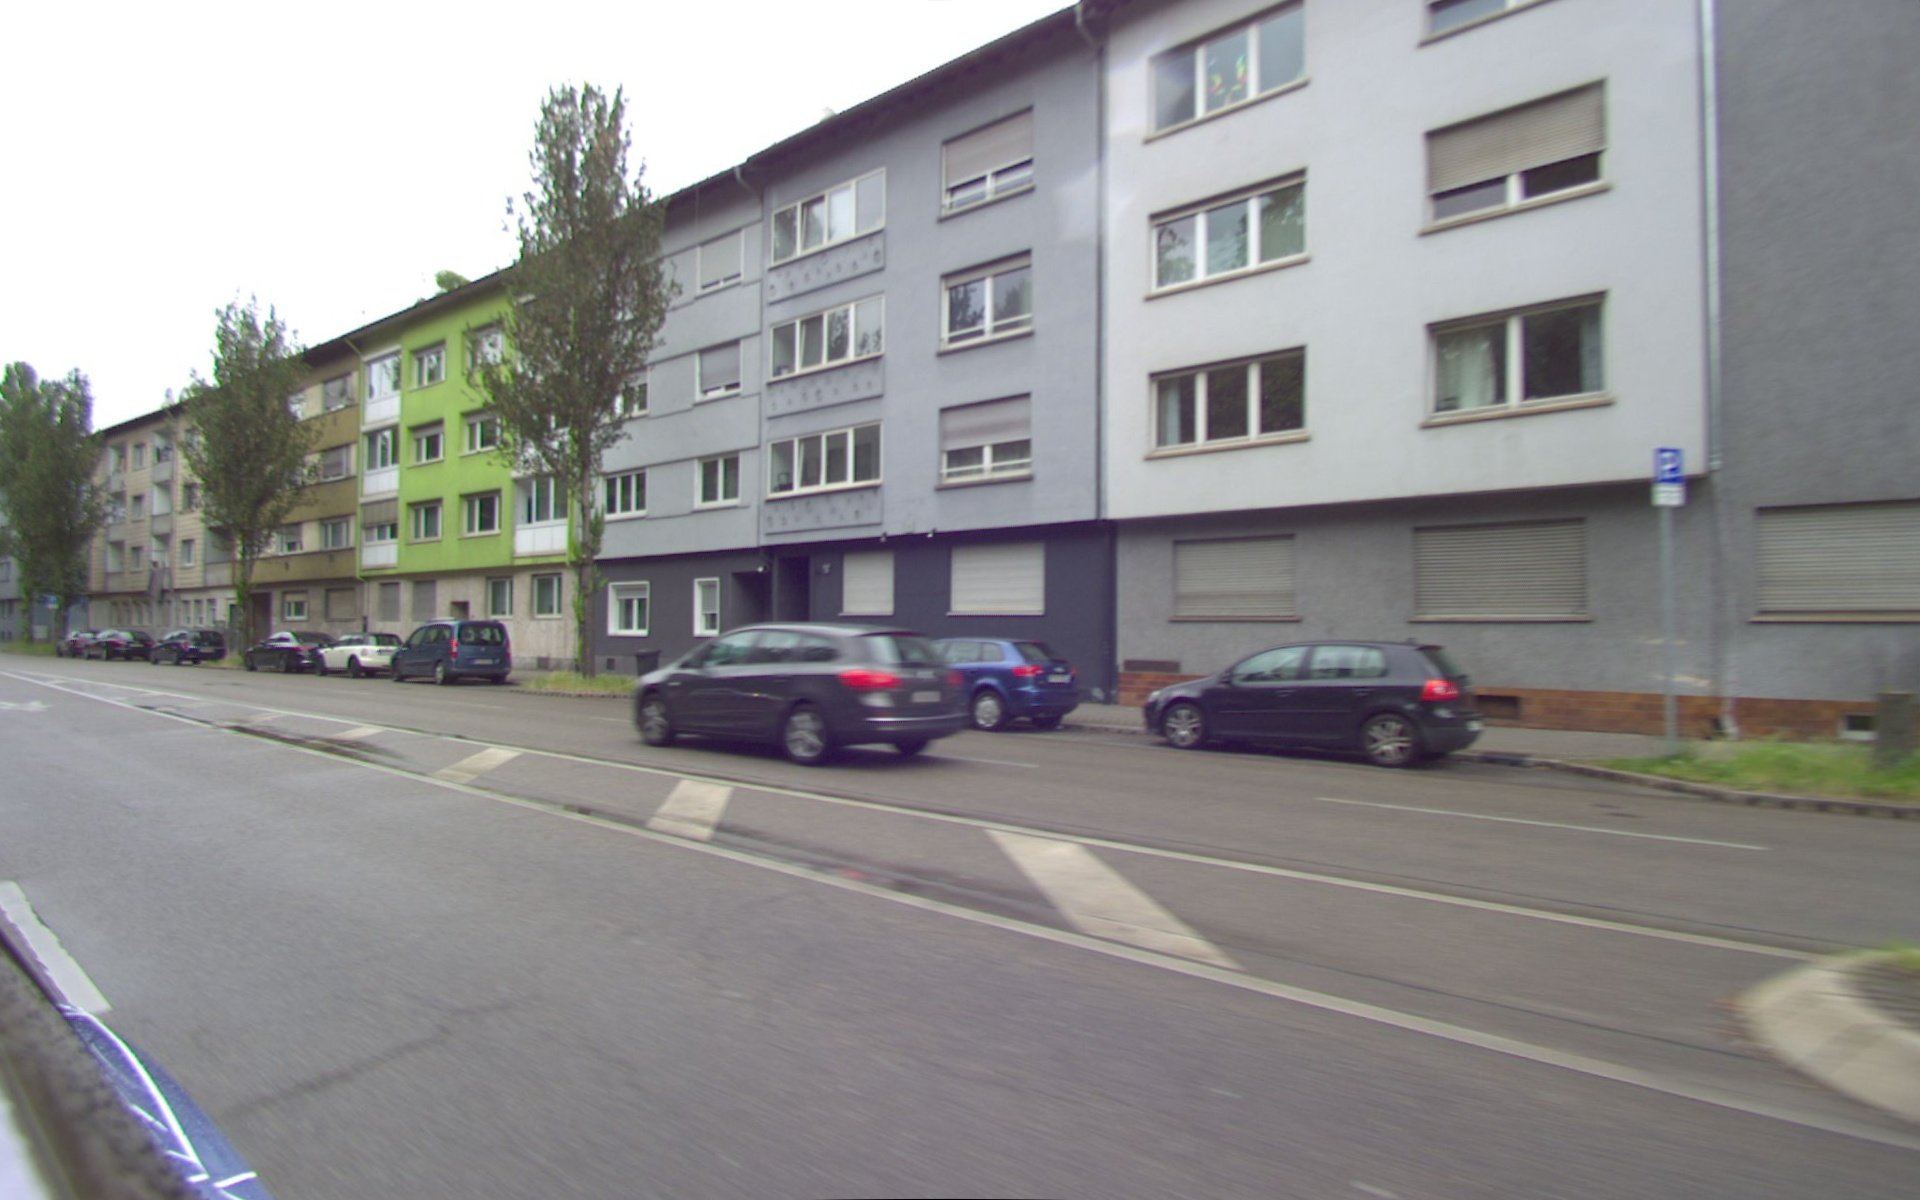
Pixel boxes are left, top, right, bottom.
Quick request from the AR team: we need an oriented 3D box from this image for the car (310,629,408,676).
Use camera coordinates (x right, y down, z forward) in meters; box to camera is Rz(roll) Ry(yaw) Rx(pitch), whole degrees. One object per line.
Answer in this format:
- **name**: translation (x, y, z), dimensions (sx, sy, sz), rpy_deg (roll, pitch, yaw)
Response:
- **car**: translation (-19.020, 1.660, 32.002), dimensions (3.443, 1.387, 1.528), rpy_deg (-2, -4, 39)

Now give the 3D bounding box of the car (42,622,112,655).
- **car**: translation (-44.667, 1.948, 51.175), dimensions (4.167, 1.612, 1.845), rpy_deg (-1, -3, 38)

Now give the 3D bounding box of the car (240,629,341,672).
- **car**: translation (-23.187, 1.722, 34.985), dimensions (4.246, 1.356, 1.529), rpy_deg (-1, -4, 37)

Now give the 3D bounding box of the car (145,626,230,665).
- **car**: translation (-32.292, 1.877, 42.288), dimensions (3.994, 1.524, 1.845), rpy_deg (-1, -3, 38)

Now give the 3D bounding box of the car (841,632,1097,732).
- **car**: translation (0.075, 1.270, 16.393), dimensions (3.922, 1.394, 1.705), rpy_deg (-1, -4, 39)

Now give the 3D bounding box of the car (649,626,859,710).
- **car**: translation (-4.162, 1.310, 20.112), dimensions (4.310, 1.492, 1.705), rpy_deg (-1, -4, 39)

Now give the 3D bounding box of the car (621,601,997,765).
- **car**: translation (-1.825, 0.870, 11.470), dimensions (4.285, 1.527, 1.793), rpy_deg (-2, -4, 39)

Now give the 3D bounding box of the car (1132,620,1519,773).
- **car**: translation (4.495, 1.060, 12.793), dimensions (4.244, 1.556, 1.828), rpy_deg (-1, 0, 40)

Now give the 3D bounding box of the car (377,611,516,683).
- **car**: translation (-14.564, 1.263, 28.616), dimensions (4.310, 1.884, 1.881), rpy_deg (-1, -2, 39)

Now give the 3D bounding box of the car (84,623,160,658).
- **car**: translation (-39.456, 1.897, 47.637), dimensions (4.167, 1.579, 1.845), rpy_deg (-1, -3, 38)
